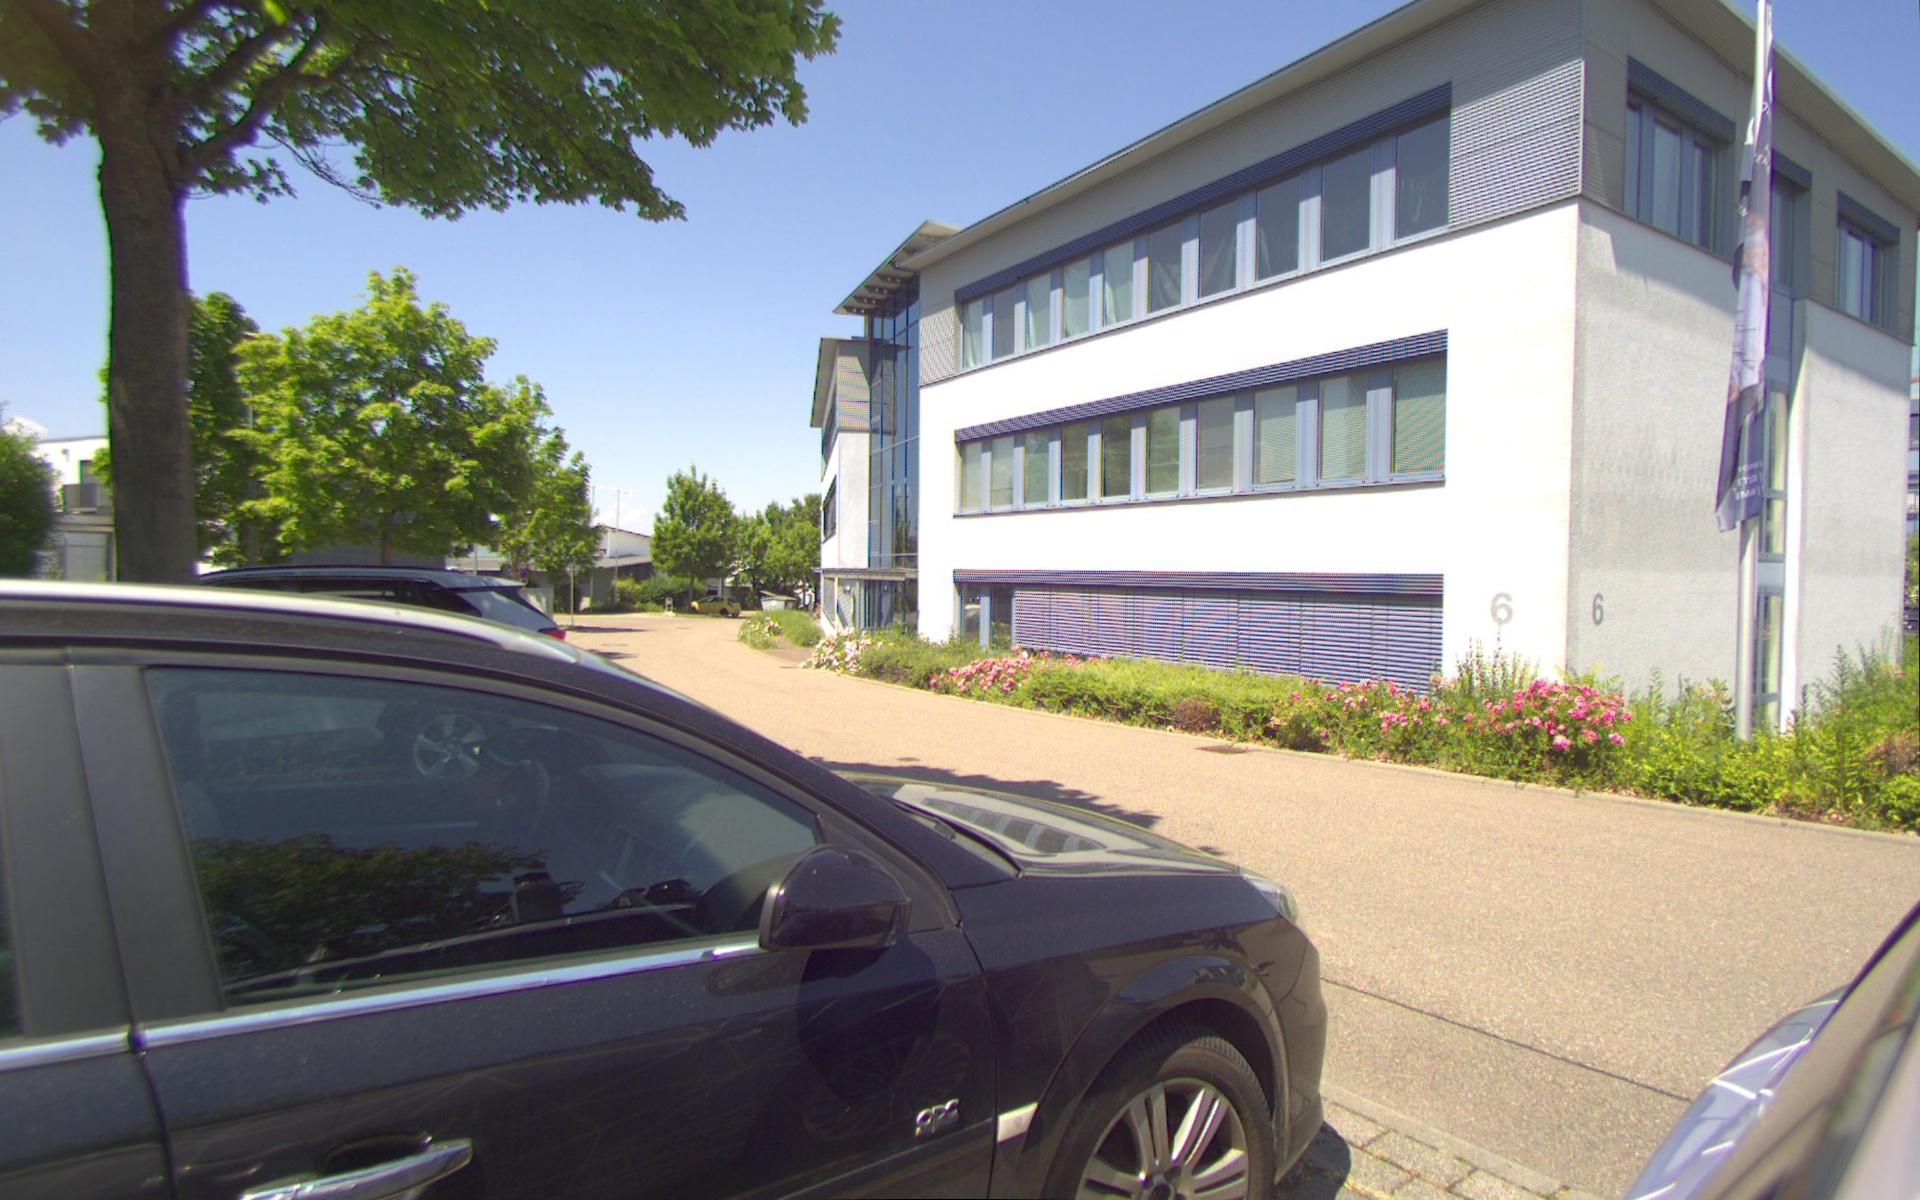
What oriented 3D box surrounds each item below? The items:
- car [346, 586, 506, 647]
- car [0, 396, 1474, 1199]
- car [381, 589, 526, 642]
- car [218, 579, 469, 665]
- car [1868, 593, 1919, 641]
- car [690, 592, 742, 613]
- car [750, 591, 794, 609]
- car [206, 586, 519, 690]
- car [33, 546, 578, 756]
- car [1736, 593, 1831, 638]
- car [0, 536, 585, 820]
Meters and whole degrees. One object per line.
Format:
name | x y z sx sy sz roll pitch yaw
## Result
car | -14.249 0.452 27.188 3.514 1.545 1.639 1 -1 -17
car | -1.050 0.596 1.847 4.480 1.569 1.763 0 0 -37
car | -14.691 0.458 29.538 3.514 1.461 1.639 1 -1 -17
car | -12.424 0.456 20.702 4.090 1.625 1.664 1 -1 -21
car | 32.678 0.547 34.518 3.925 1.565 1.788 -1 1 -36
car | -17.154 0.143 71.158 3.172 1.460 1.580 0 0 18
car | -15.286 -0.023 82.355 3.172 1.460 1.580 0 0 18
car | -9.373 0.582 16.232 4.092 1.505 1.663 1 -1 -27
car | -6.088 0.435 9.878 4.122 1.664 1.661 1 -1 -35
car | 30.574 0.524 37.546 3.925 1.565 1.788 -1 1 -36
car | -5.183 0.471 7.372 4.249 1.664 1.857 1 -1 -35
